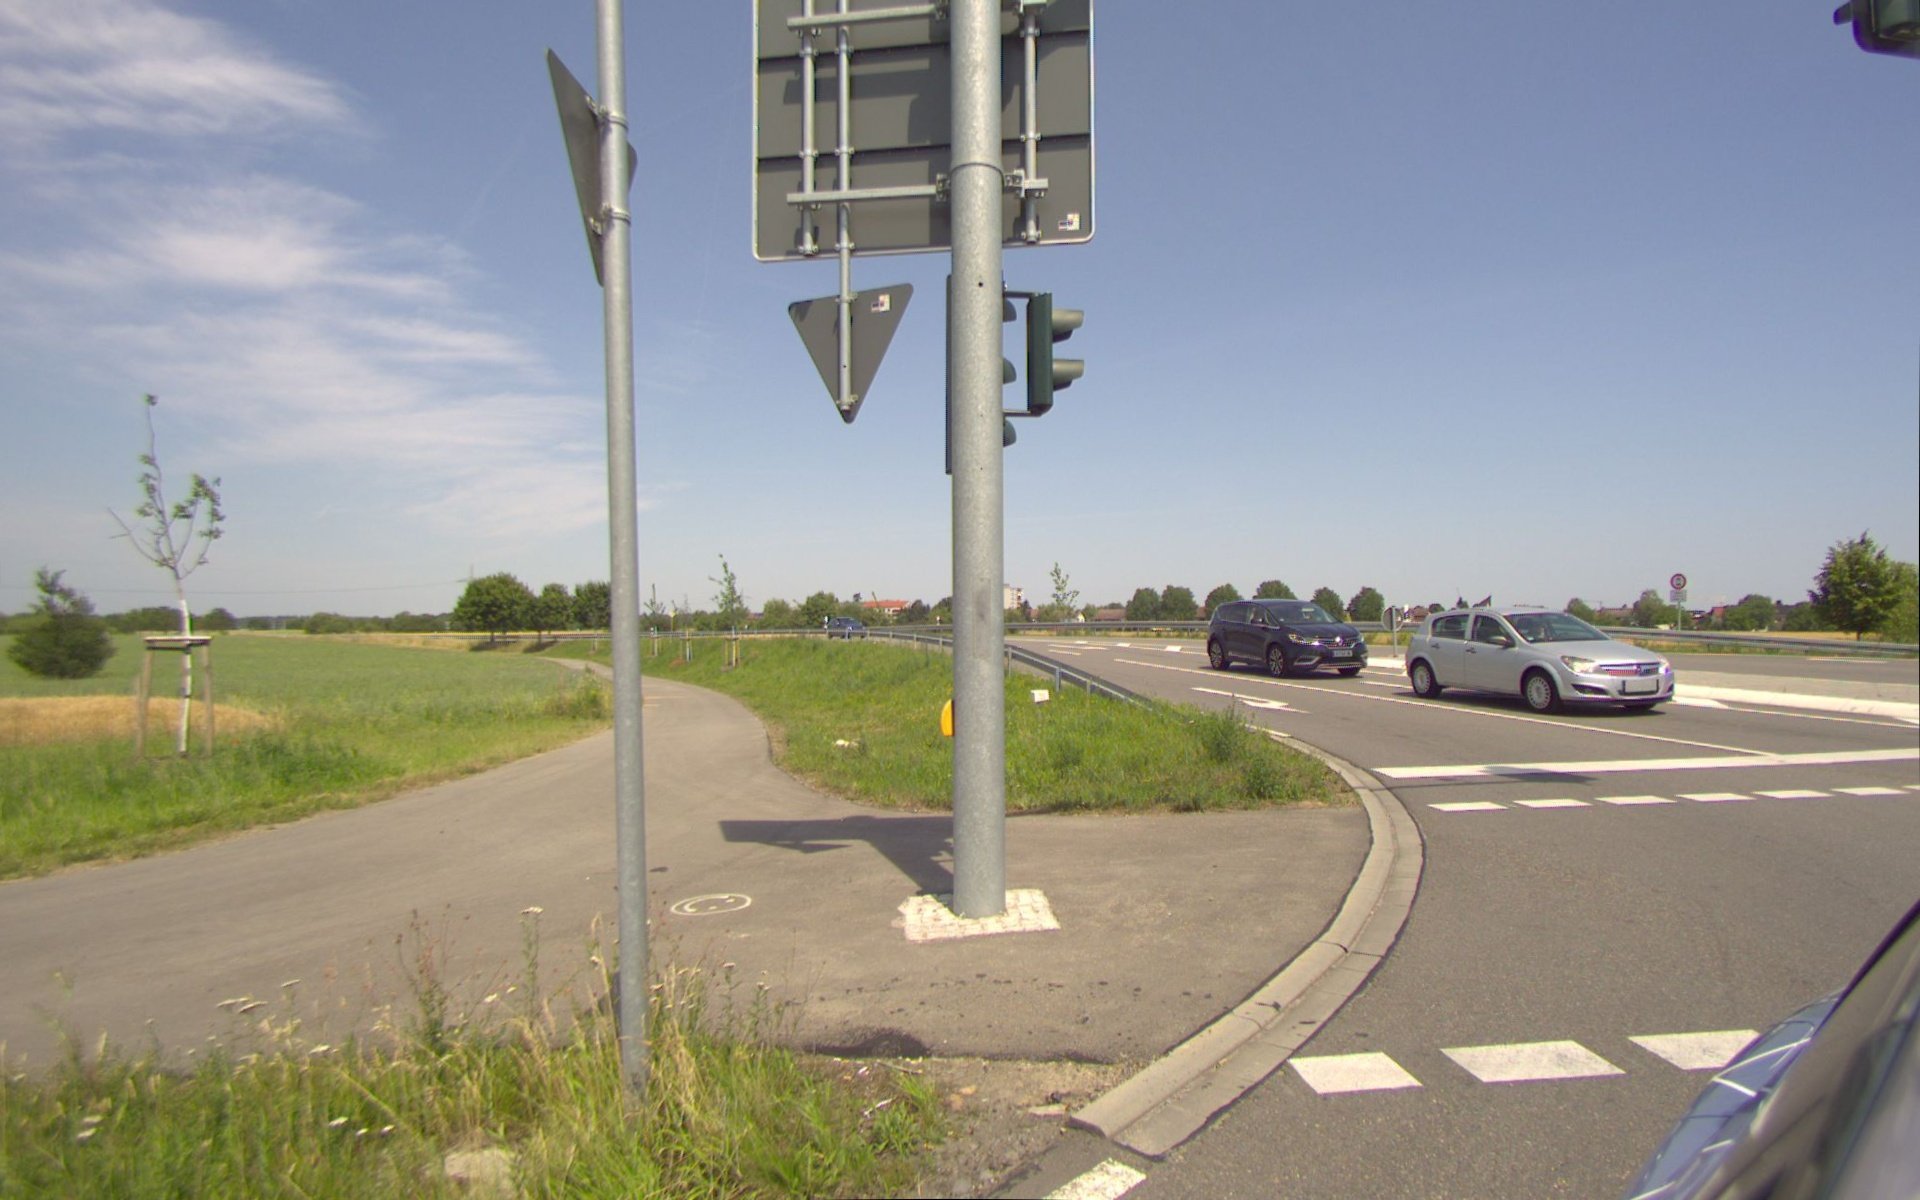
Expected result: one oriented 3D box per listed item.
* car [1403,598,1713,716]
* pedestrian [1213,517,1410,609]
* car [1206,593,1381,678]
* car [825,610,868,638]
[{"bbox_3d":[8.537,0.750,14.955,1.627,1.478,4.158,0,-1,-9],"label":"car"},{"bbox_3d":[8.239,-0.834,23.868,3.916,2.039,2.004,0,0,-14],"label":"pedestrian"},{"bbox_3d":[7.249,0.719,22.527,1.777,1.661,4.533,-1,0,-9],"label":"car"},{"bbox_3d":[-7.615,1.596,67.598,1.880,1.831,3.926,0,-2,-22],"label":"car"}]
